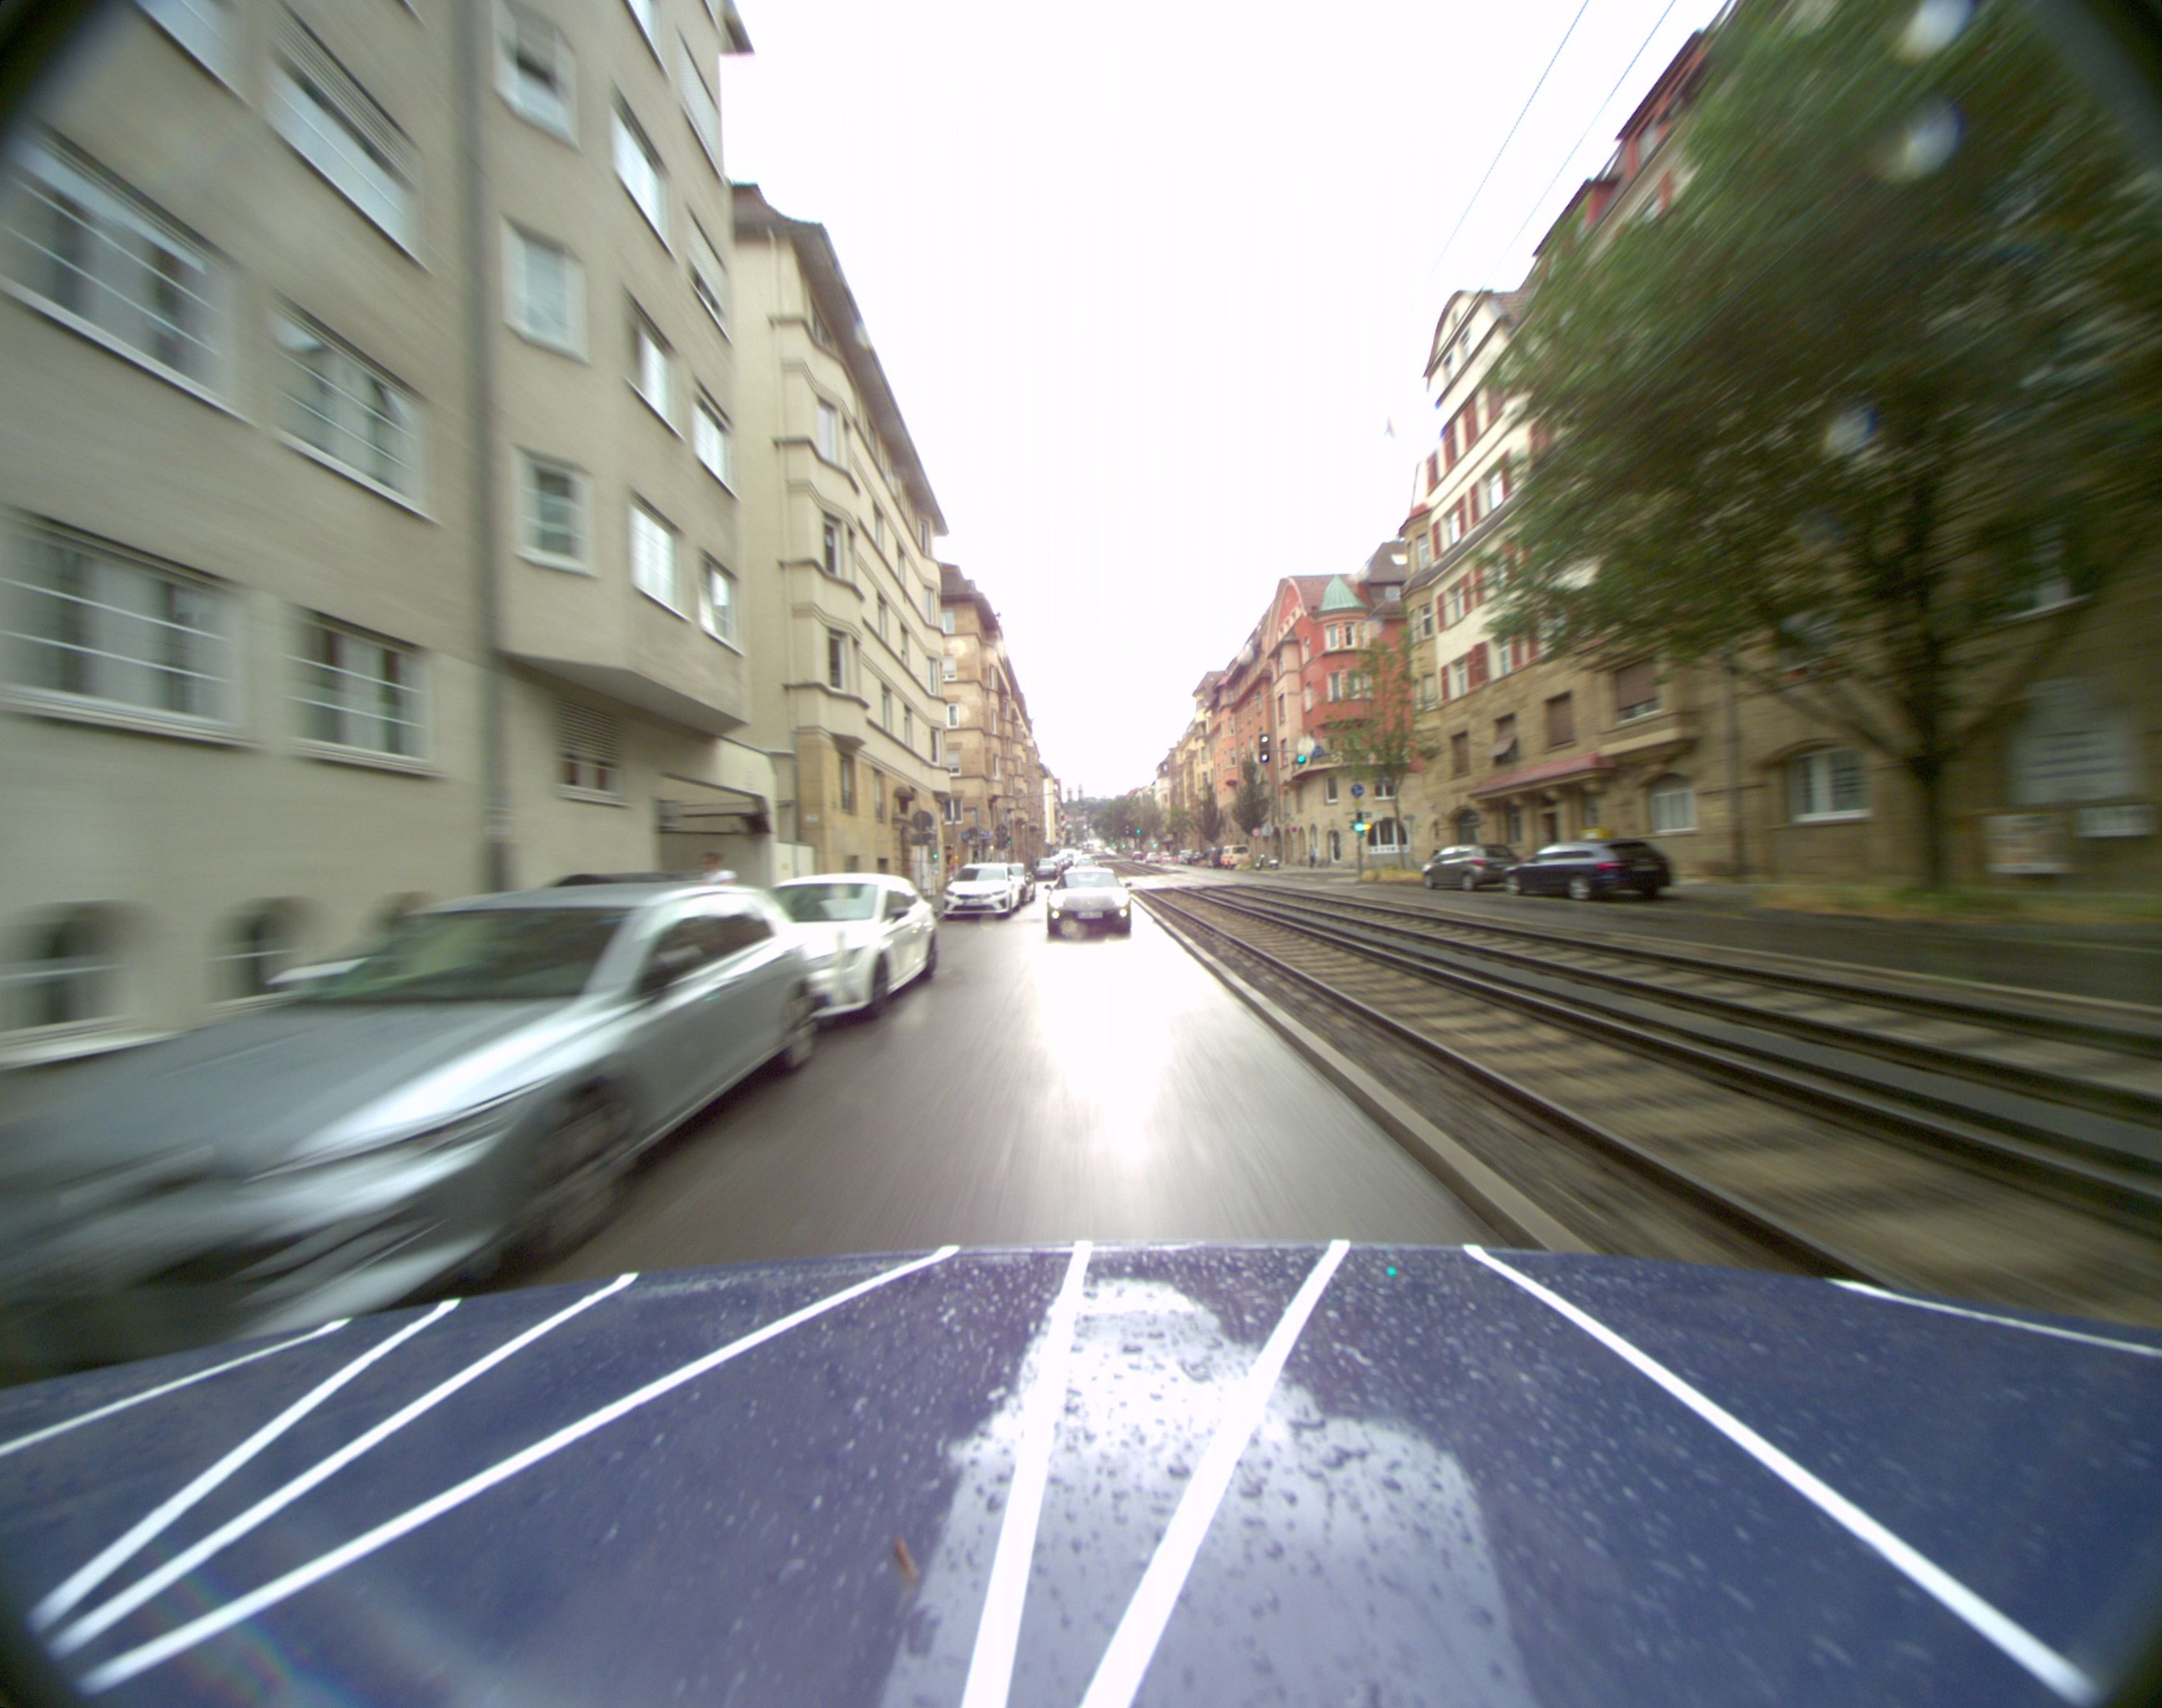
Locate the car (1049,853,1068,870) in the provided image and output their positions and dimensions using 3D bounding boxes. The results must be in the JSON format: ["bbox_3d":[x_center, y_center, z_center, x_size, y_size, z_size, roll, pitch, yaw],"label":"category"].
[{"bbox_3d":[-2.226,0.755,76.878,1.774,1.592,3.999,-1,0,-1],"label":"car"}]

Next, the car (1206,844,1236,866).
[{"bbox_3d":[12.999,0.021,70.963,1.910,1.919,4.831,-2,1,0],"label":"car"}]

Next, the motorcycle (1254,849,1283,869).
[{"bbox_3d":[13.093,0.363,53.055,1.779,1.367,0.769,-1,1,33],"label":"motorcycle"}]

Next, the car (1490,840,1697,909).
[{"bbox_3d":[12.560,0.414,19.116,1.785,1.451,4.977,-2,1,-1],"label":"car"}]

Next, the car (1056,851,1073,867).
[{"bbox_3d":[-2.012,0.575,91.729,1.811,1.758,3.962,-2,0,1],"label":"car"}]

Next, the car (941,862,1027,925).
[{"bbox_3d":[-2.665,1.038,21.924,1.716,1.459,4.773,-2,1,1],"label":"car"}]

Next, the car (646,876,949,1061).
[{"bbox_3d":[-2.864,1.072,8.865,1.794,1.377,4.394,-2,1,1],"label":"car"}]

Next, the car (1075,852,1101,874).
[{"bbox_3d":[0.507,0.627,55.668,1.793,1.459,4.257,-2,1,1],"label":"car"}]

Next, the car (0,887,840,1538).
[{"bbox_3d":[-2.932,1.066,4.194,1.837,1.459,4.374,-2,1,-1],"label":"car"}]

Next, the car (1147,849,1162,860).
[{"bbox_3d":[10.408,0.072,107.827,1.785,1.494,4.061,-2,1,-1],"label":"car"}]

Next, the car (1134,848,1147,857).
[{"bbox_3d":[10.732,-0.260,137.861,1.926,1.608,4.128,-2,1,-1],"label":"car"}]

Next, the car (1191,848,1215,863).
[{"bbox_3d":[13.339,0.152,83.162,1.760,1.396,3.694,-4,1,-2],"label":"car"}]

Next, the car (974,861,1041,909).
[{"bbox_3d":[-2.537,1.028,27.291,1.715,1.402,4.817,-2,1,3],"label":"car"}]

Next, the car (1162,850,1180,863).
[{"bbox_3d":[10.623,0.325,89.674,1.657,1.454,3.734,-1,0,1],"label":"car"}]

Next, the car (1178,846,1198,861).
[{"bbox_3d":[13.178,-0.074,93.731,1.759,1.663,4.259,-5,1,0],"label":"car"}]

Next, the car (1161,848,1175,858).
[{"bbox_3d":[13.520,-0.190,118.450,1.759,1.443,4.043,-5,1,2],"label":"car"}]

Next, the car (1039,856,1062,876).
[{"bbox_3d":[-2.419,0.927,60.411,1.710,1.444,3.532,-3,0,-1],"label":"car"}]

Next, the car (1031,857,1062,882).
[{"bbox_3d":[-2.450,1.072,54.456,1.872,1.540,3.991,-3,0,1],"label":"car"}]

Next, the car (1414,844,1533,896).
[{"bbox_3d":[12.682,0.447,24.852,1.694,1.520,4.175,-2,1,-1],"label":"car"}]

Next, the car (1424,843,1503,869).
[{"bbox_3d":[23.707,0.121,47.154,3.997,1.458,1.747,-2,1,1],"label":"car"}]

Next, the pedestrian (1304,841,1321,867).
[{"bbox_3d":[15.957,-0.016,52.417,0.718,1.710,0.892,-8,1,1],"label":"pedestrian"}]

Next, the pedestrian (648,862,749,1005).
[{"bbox_3d":[-4.739,0.960,9.468,0.806,1.678,0.754,-2,1,0],"label":"pedestrian"}]

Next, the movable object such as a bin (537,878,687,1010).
[{"bbox_3d":[-5.882,1.087,9.638,1.020,1.460,1.322,-2,1,0],"label":"movable object such as a bin"}]

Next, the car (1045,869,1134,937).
[{"bbox_3d":[0.213,1.003,17.030,1.737,1.262,4.258,0,0,1],"label":"car"}]

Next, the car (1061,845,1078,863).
[{"bbox_3d":[-1.659,-0.011,112.707,1.991,2.520,6.155,-3,0,3],"label":"car"}]

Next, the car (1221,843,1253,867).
[{"bbox_3d":[13.029,0.041,63.725,1.732,1.919,4.475,-2,1,0],"label":"car"}]

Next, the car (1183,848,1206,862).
[{"bbox_3d":[13.124,0.085,88.069,1.760,1.482,4.597,-4,1,-1],"label":"car"}]

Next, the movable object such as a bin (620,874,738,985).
[{"bbox_3d":[-5.836,1.064,11.133,0.982,1.460,1.272,-2,1,0],"label":"movable object such as a bin"}]
